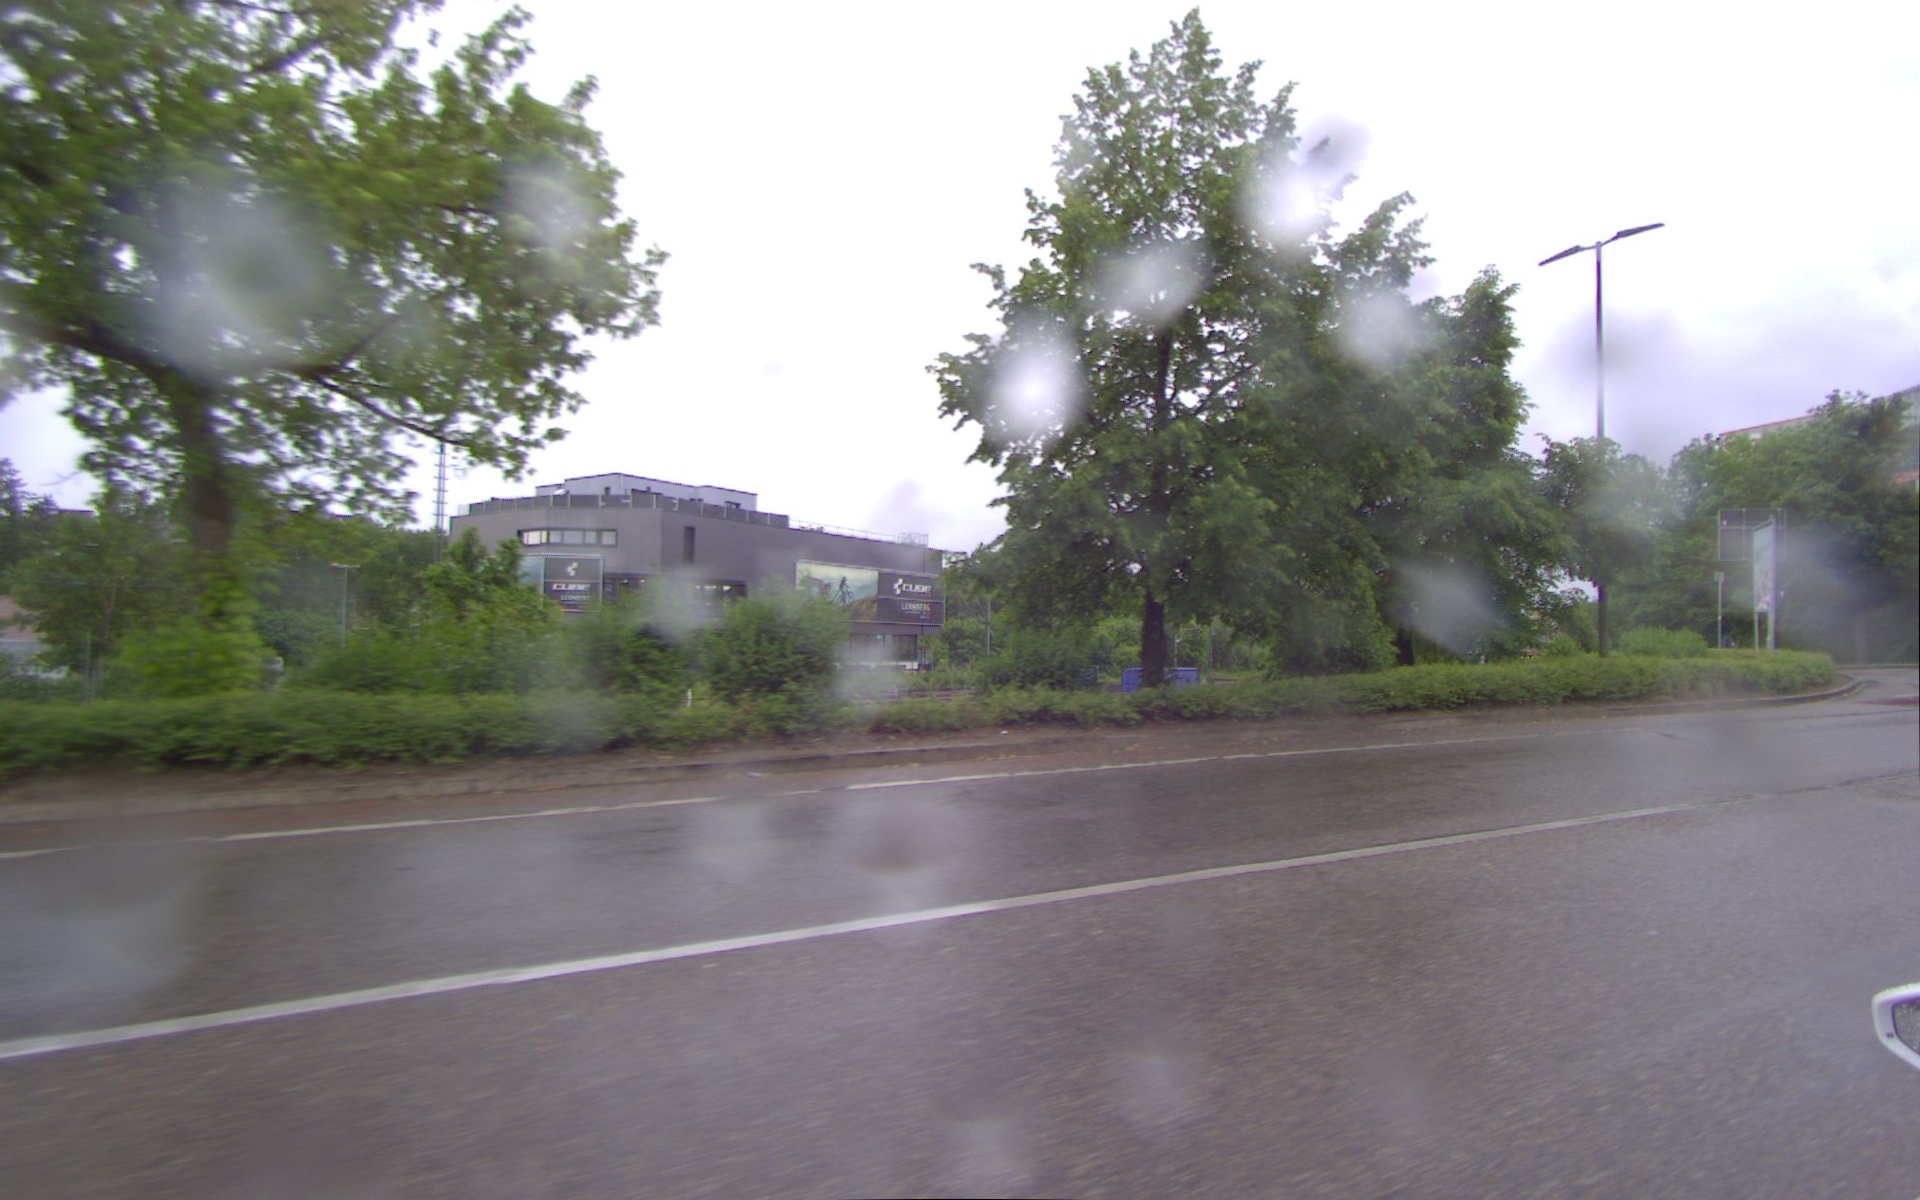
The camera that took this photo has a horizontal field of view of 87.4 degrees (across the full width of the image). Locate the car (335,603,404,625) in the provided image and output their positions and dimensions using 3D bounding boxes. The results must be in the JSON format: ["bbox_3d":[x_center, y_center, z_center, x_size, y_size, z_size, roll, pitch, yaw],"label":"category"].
[{"bbox_3d":[-40.271,0.936,68.532,3.956,1.428,1.784,1,-1,-33],"label":"car"}]
